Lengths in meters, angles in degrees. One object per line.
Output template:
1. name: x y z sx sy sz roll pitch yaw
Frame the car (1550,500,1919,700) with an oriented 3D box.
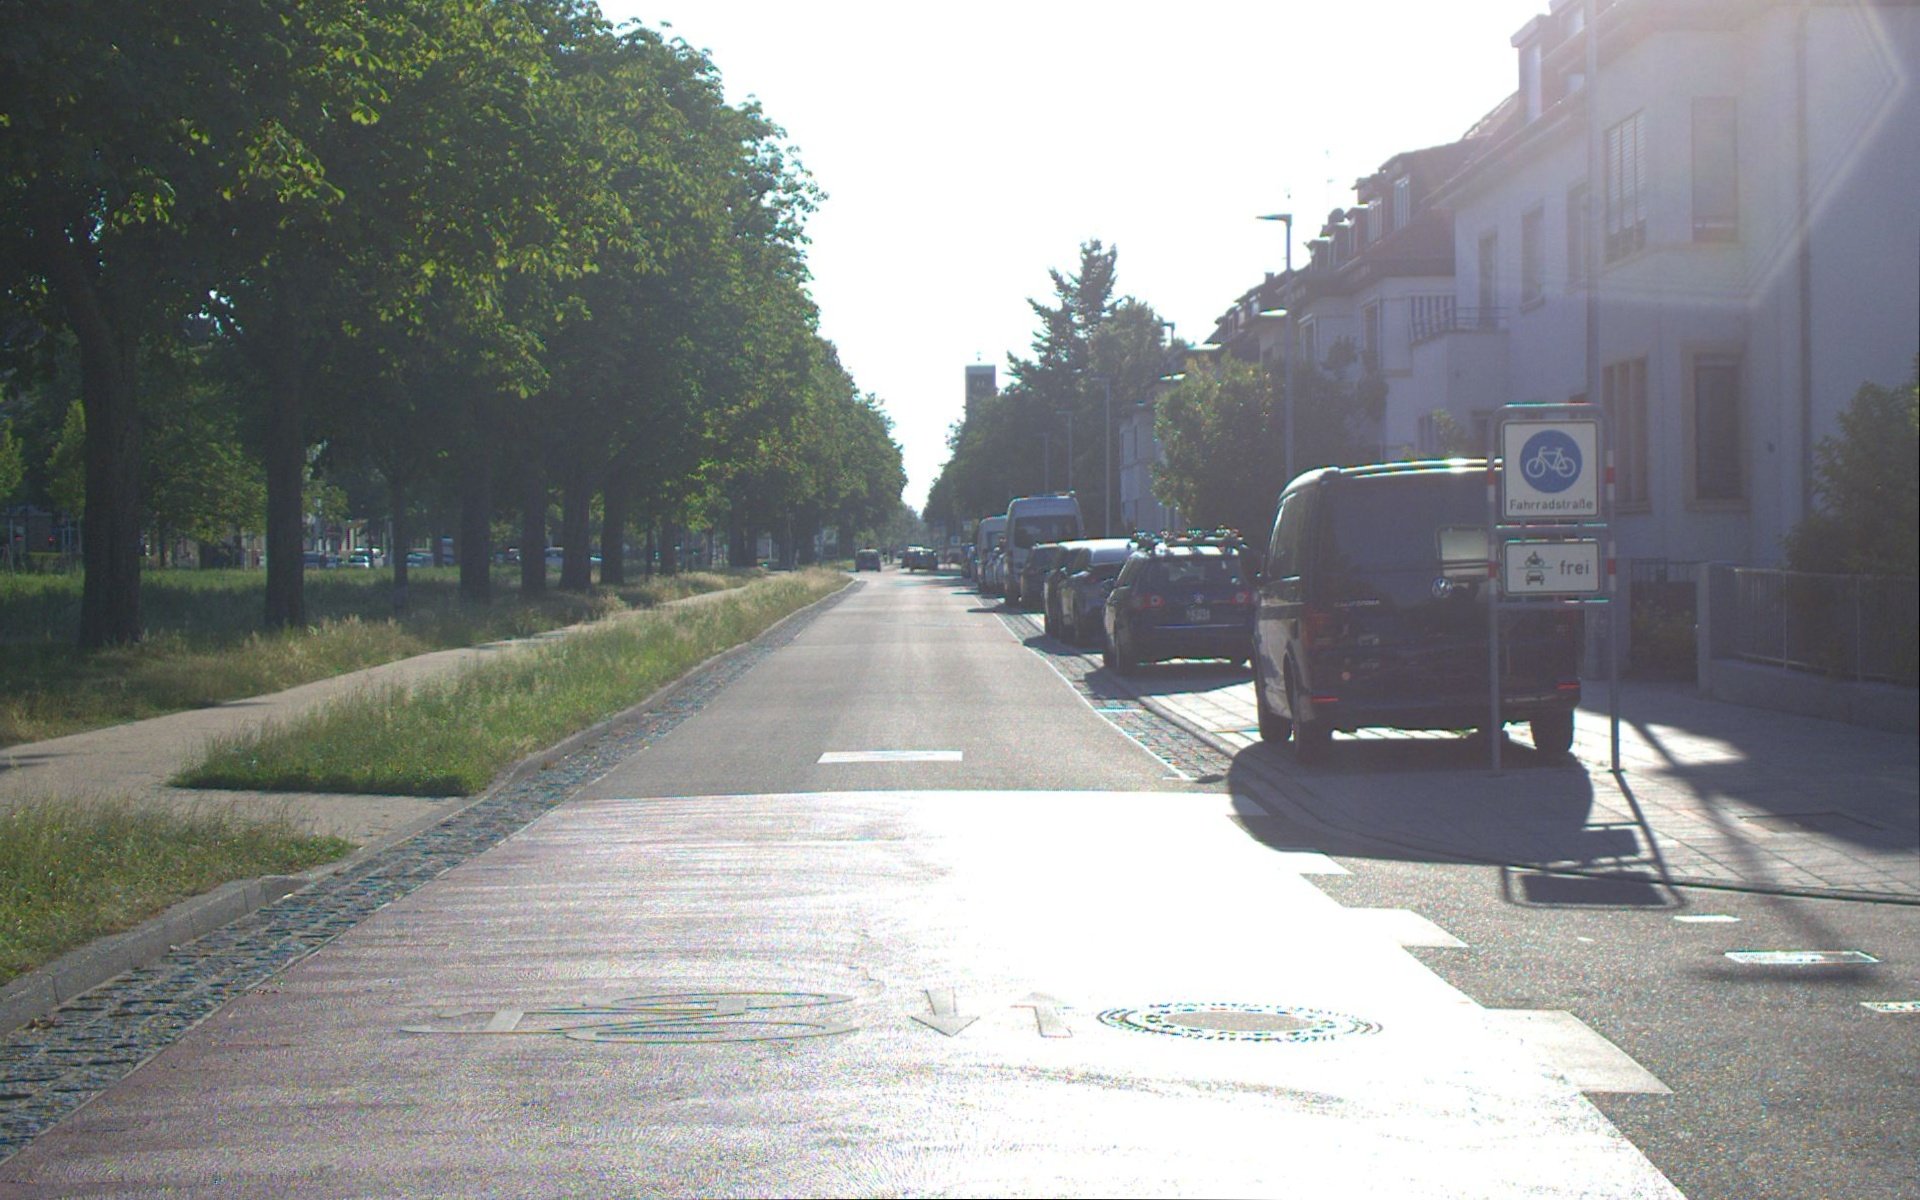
1. car: 7.676 0.009 31.257 4.216 1.720 1.853 1 0 -4

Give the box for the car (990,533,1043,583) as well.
1. car: 1.796 -1.363 109.906 1.650 1.525 3.851 -1 1 1

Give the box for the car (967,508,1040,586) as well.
1. car: 1.435 -1.797 115.894 2.126 2.524 5.189 -1 1 -2

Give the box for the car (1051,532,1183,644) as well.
1. car: 2.356 -0.190 52.411 1.718 1.568 4.210 -2 1 -1

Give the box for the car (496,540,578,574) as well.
1. car: -23.198 -2.338 188.511 4.345 1.758 2.000 1 0 -9

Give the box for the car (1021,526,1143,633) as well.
1. car: 2.032 -0.386 58.402 1.832 1.679 4.415 2 1 -1

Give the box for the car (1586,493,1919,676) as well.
1. car: 8.516 -0.173 34.047 4.216 1.720 1.853 -1 0 -4

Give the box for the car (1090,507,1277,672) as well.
1. car: 2.577 -0.154 40.570 1.794 1.765 4.473 -2 1 -1

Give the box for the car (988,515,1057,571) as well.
1. car: 1.879 -1.732 104.329 1.837 1.630 4.132 -1 1 -2

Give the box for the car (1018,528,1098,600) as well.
1. car: 2.240 -0.837 79.294 1.663 1.587 4.086 1 1 0

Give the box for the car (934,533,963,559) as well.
1. car: -0.657 -3.198 203.572 1.650 1.525 3.851 -1 1 1

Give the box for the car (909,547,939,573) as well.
1. car: -2.325 -2.577 222.099 1.863 1.591 3.894 1 1 -1

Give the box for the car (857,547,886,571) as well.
1. car: -5.946 -2.756 230.729 1.863 1.591 3.870 1 0 -1

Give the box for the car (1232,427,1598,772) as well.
1. car: 3.095 -0.047 24.358 1.906 2.124 4.814 -2 1 0

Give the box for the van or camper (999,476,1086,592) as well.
1. van or camper: 2.026 -1.597 85.776 1.943 2.768 5.940 1 0 0

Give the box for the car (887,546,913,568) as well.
1. car: -4.382 -3.141 252.309 1.863 1.591 3.870 1 0 -1
